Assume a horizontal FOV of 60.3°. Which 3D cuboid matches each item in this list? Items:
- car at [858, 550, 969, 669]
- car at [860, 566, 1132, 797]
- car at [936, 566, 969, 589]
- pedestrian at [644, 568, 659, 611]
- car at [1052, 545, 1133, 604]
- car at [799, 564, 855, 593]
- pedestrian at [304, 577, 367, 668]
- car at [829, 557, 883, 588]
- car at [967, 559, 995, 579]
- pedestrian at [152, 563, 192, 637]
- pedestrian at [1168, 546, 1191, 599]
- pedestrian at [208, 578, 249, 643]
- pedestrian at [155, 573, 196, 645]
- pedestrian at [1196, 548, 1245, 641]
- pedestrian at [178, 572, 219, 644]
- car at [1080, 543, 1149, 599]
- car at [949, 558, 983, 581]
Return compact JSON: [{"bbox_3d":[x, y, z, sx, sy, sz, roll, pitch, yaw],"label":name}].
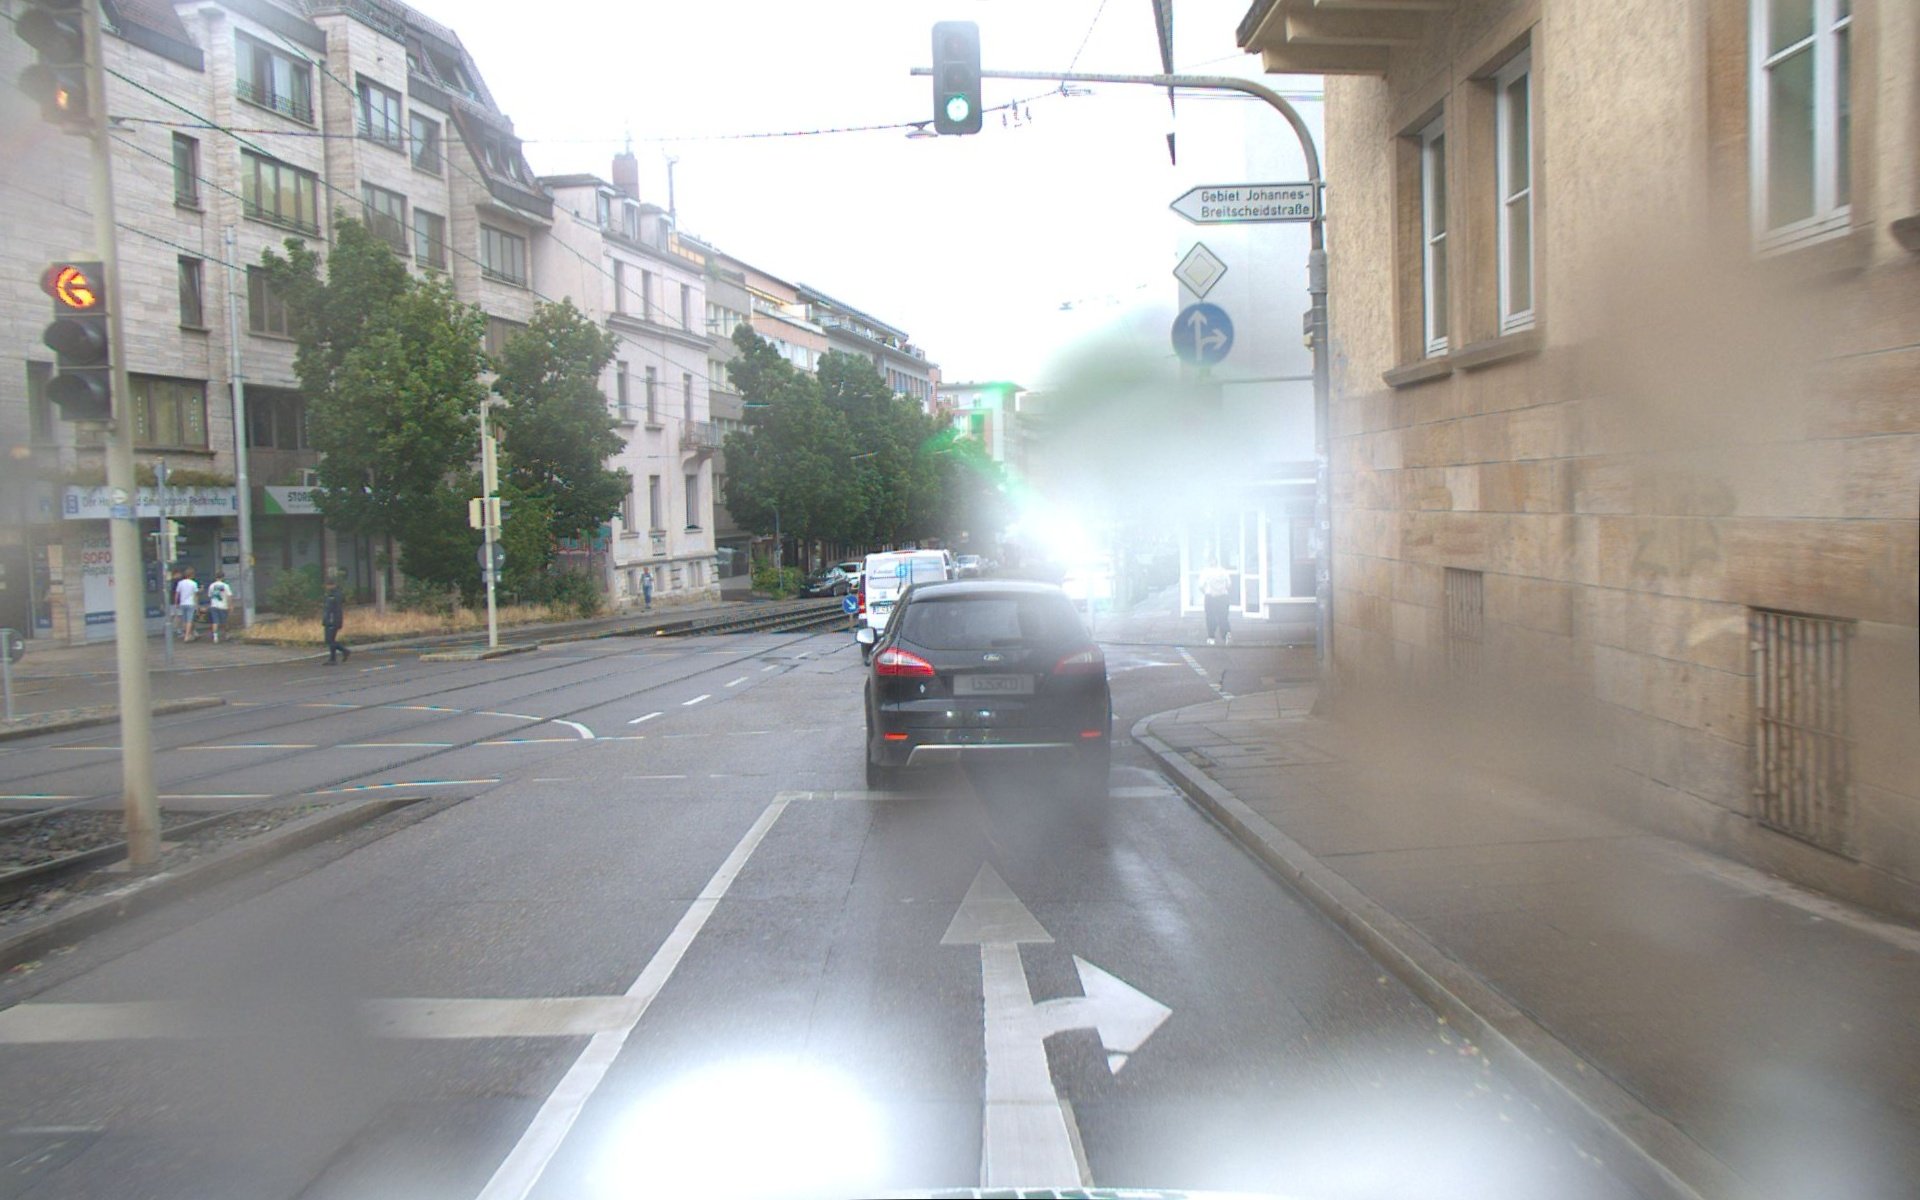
[{"bbox_3d":[-0.861,0.157,31.410,1.948,2.096,4.644,0,0,-1],"label":"car"},{"bbox_3d":[0.226,0.535,12.956,1.805,1.533,4.000,0,0,0],"label":"car"},{"bbox_3d":[-0.536,-1.623,120.303,1.632,1.585,4.050,-1,0,10],"label":"car"},{"bbox_3d":[-12.025,-0.418,64.530,0.458,1.681,0.582,1,0,-2],"label":"pedestrian"},{"bbox_3d":[3.786,-0.705,46.632,1.763,1.481,4.591,-3,0,10],"label":"car"},{"bbox_3d":[-6.728,-1.085,84.198,1.657,1.401,4.725,-1,0,10],"label":"car"},{"bbox_3d":[-12.934,0.455,34.284,0.911,1.862,0.960,1,0,2],"label":"pedestrian"},{"bbox_3d":[-5.651,-1.488,90.372,1.816,1.575,4.725,-1,0,10],"label":"car"},{"bbox_3d":[1.749,-2.558,136.265,1.658,1.601,4.050,-1,0,10],"label":"car"},{"bbox_3d":[-20.104,0.000,42.207,0.634,1.875,0.684,1,0,8],"label":"pedestrian"},{"bbox_3d":[8.030,-1.025,60.525,0.688,1.850,0.962,-4,2,10],"label":"pedestrian"},{"bbox_3d":[-18.093,0.260,40.914,0.634,1.576,0.684,1,0,8],"label":"pedestrian"},{"bbox_3d":[-19.458,0.223,41.023,0.634,1.780,0.684,1,0,8],"label":"pedestrian"},{"bbox_3d":[4.608,-0.101,29.262,0.674,1.599,0.763,-2,0,-1],"label":"pedestrian"},{"bbox_3d":[-18.840,0.187,40.939,0.634,1.754,0.684,1,0,8],"label":"pedestrian"},{"bbox_3d":[5.017,-0.908,53.199,1.806,1.661,4.591,-1,0,10],"label":"car"},{"bbox_3d":[0.519,-2.371,129.750,1.816,1.665,4.940,-1,0,10],"label":"car"}]
